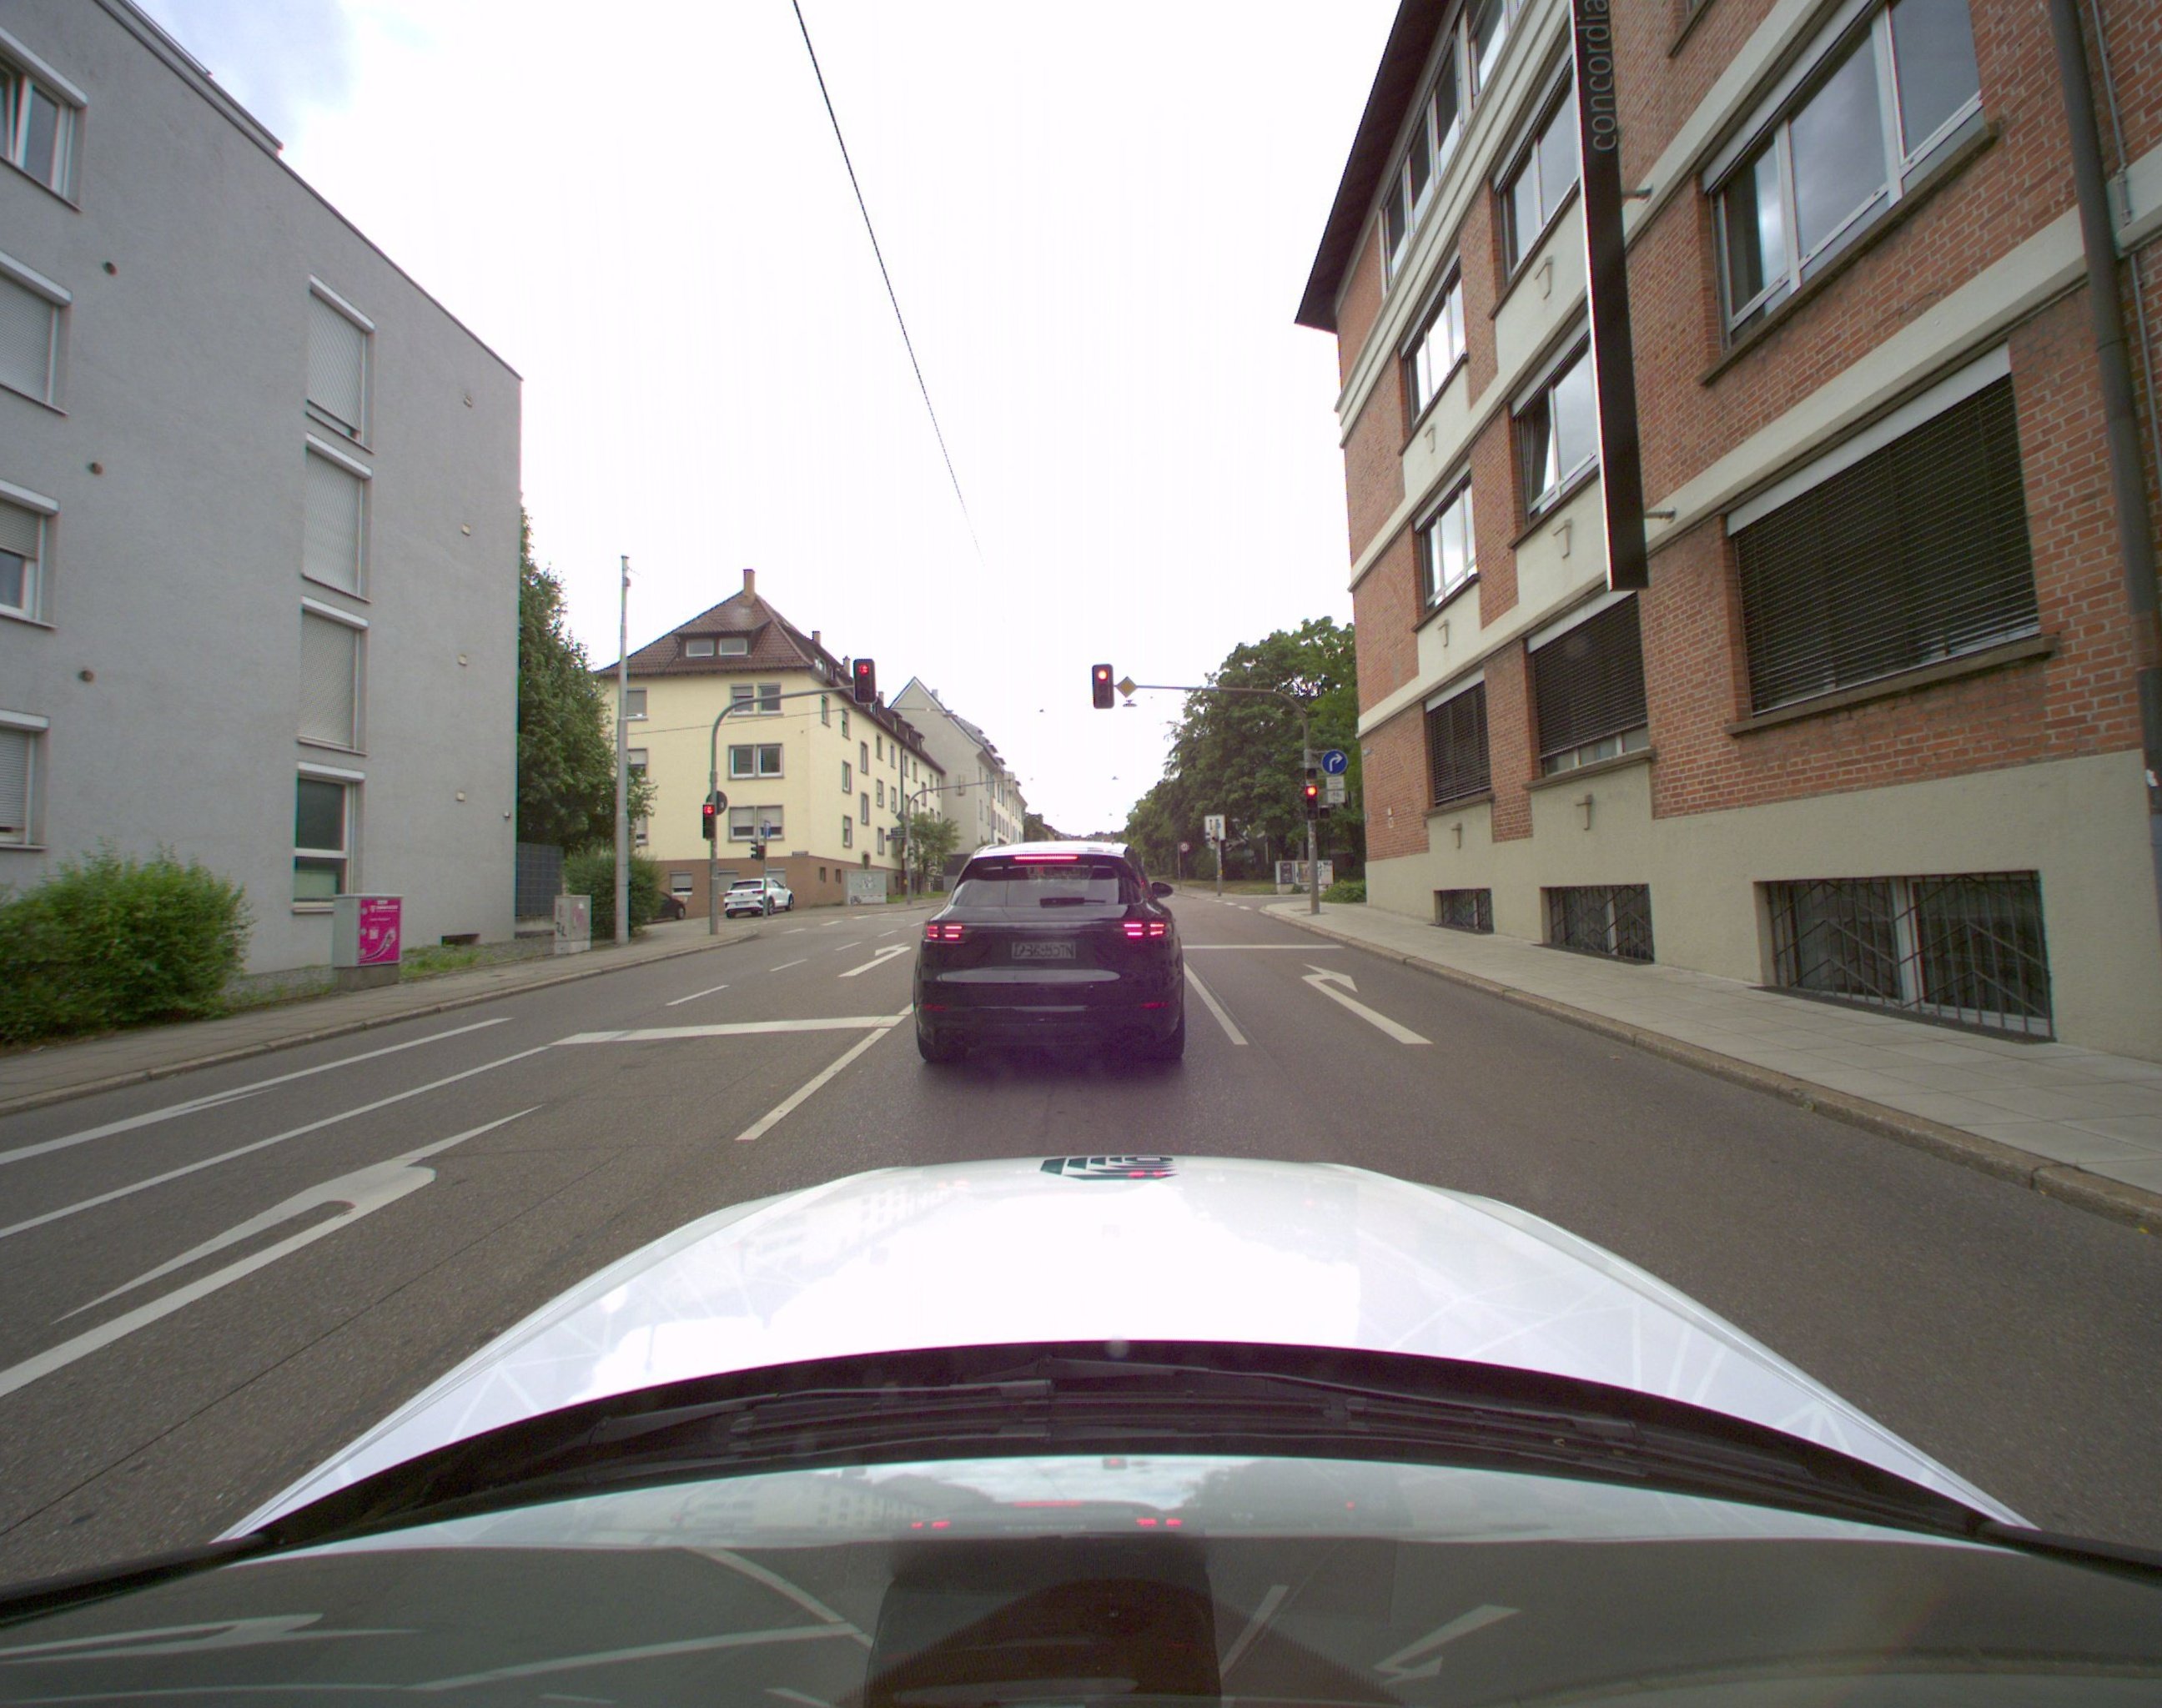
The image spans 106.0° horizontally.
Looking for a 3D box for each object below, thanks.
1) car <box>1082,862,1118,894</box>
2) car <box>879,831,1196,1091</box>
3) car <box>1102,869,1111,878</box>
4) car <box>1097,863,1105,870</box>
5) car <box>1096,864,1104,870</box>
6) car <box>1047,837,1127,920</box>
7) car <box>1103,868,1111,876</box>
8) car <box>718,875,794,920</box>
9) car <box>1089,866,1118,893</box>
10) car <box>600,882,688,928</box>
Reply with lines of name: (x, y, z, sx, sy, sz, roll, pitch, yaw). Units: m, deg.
car: (1.055, 1.263, 43.936, 1.820, 1.605, 4.137, 0, 0, 2)
car: (-0.203, 0.689, 7.376, 2.040, 1.666, 4.269, 0, 0, 2)
car: (5.077, 3.851, 163.371, 1.820, 1.605, 4.137, 0, 0, 2)
car: (5.140, 3.207, 210.382, 1.820, 1.605, 4.137, 0, 0, 2)
car: (4.719, 3.235, 203.060, 1.820, 1.605, 4.137, 0, 0, 2)
car: (0.222, 0.600, 22.027, 1.957, 2.042, 4.137, 0, 0, 2)
car: (5.920, 4.077, 182.537, 1.820, 1.605, 4.137, 0, 0, 2)
car: (-13.534, 1.765, 34.186, 1.686, 1.555, 3.763, -4, 0, -2)
car: (1.472, 1.639, 52.643, 1.820, 1.605, 3.861, 0, 0, 2)
car: (-18.498, 2.127, 34.652, 1.686, 1.608, 3.763, -4, 0, -2)
